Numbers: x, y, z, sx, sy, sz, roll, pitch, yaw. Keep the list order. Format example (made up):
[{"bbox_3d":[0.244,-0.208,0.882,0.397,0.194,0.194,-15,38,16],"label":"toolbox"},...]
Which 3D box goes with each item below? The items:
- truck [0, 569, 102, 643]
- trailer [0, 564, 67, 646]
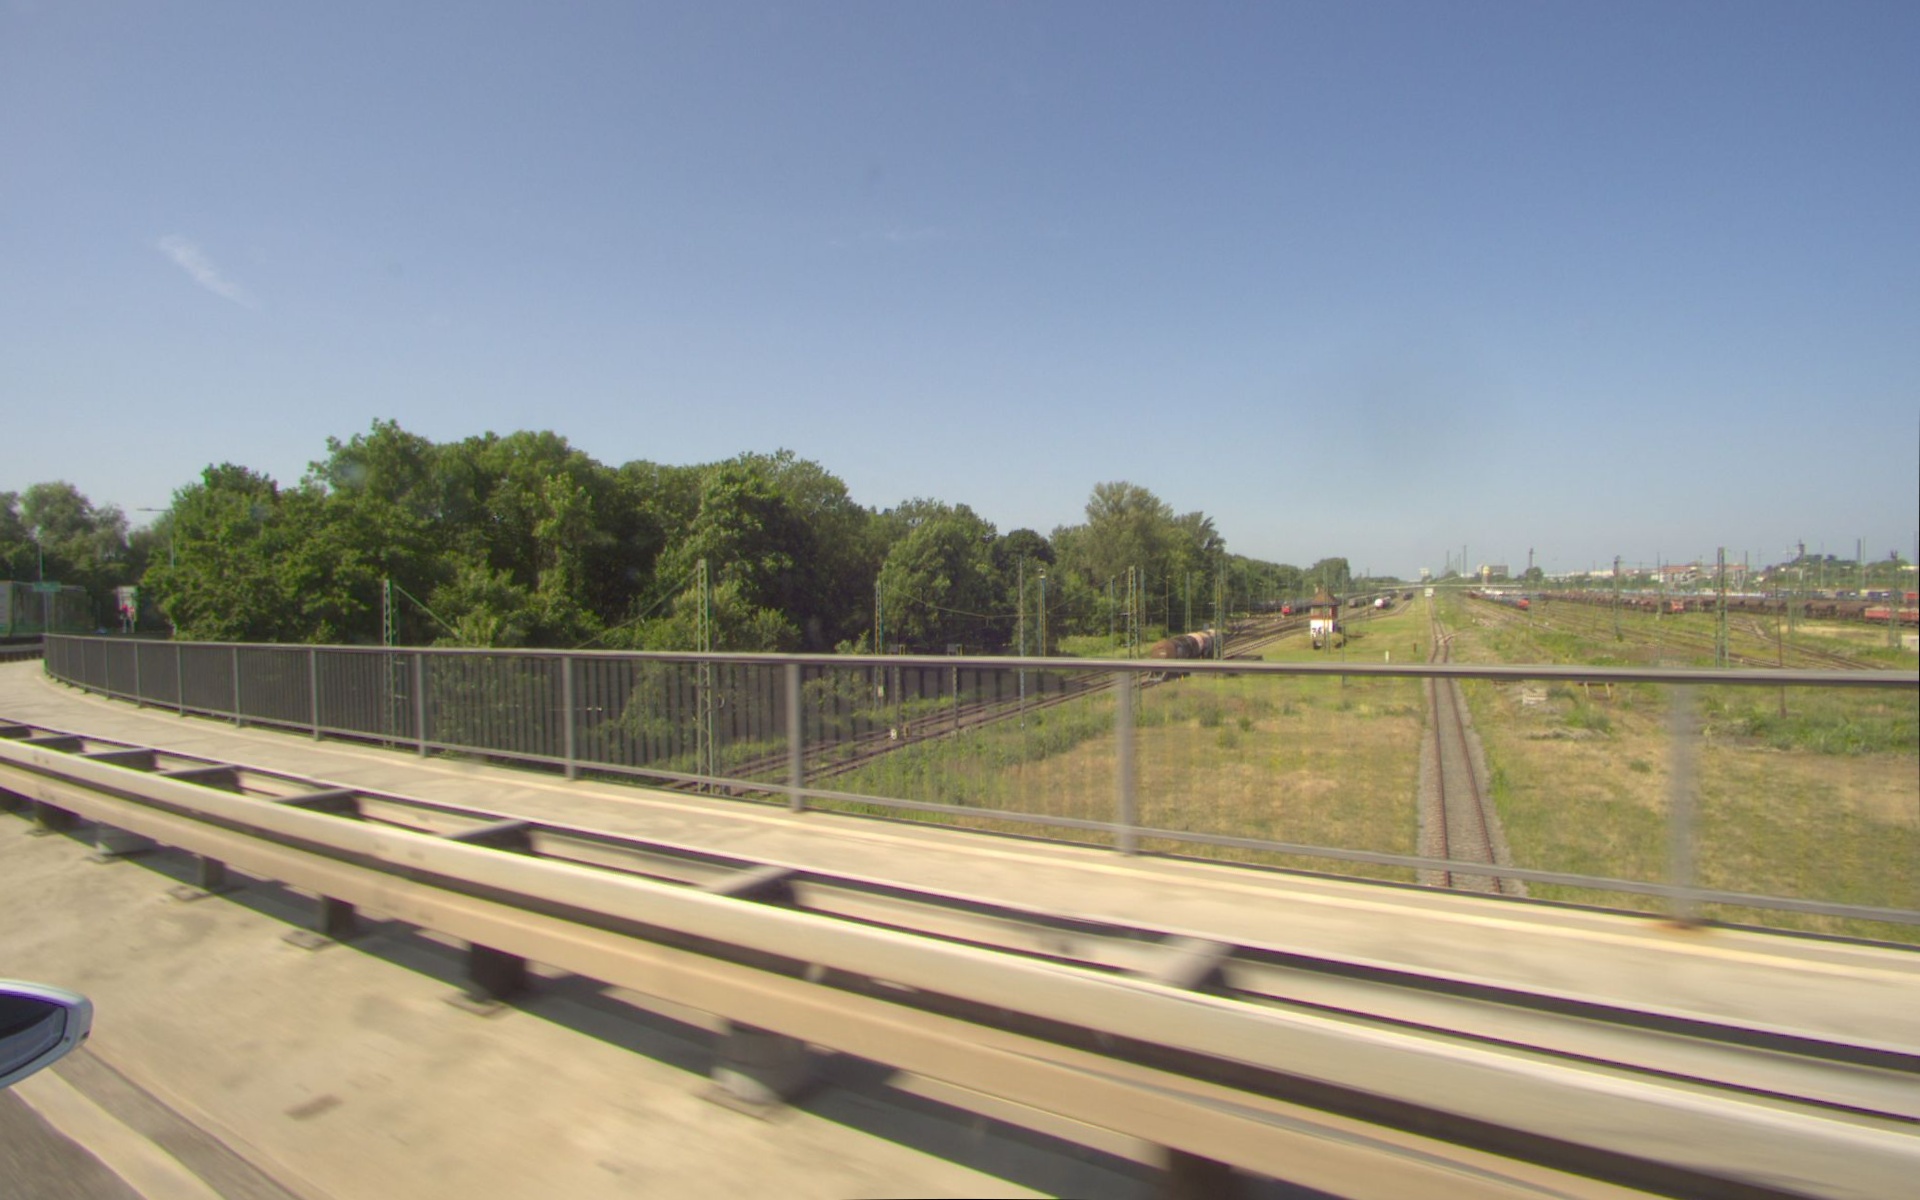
[{"bbox_3d":[-51.891,0.416,56.924,3.226,3.805,8.325,3,-2,-31],"label":"truck"},{"bbox_3d":[-47.808,0.262,50.046,3.191,3.805,7.782,3,-2,-31],"label":"trailer"}]
